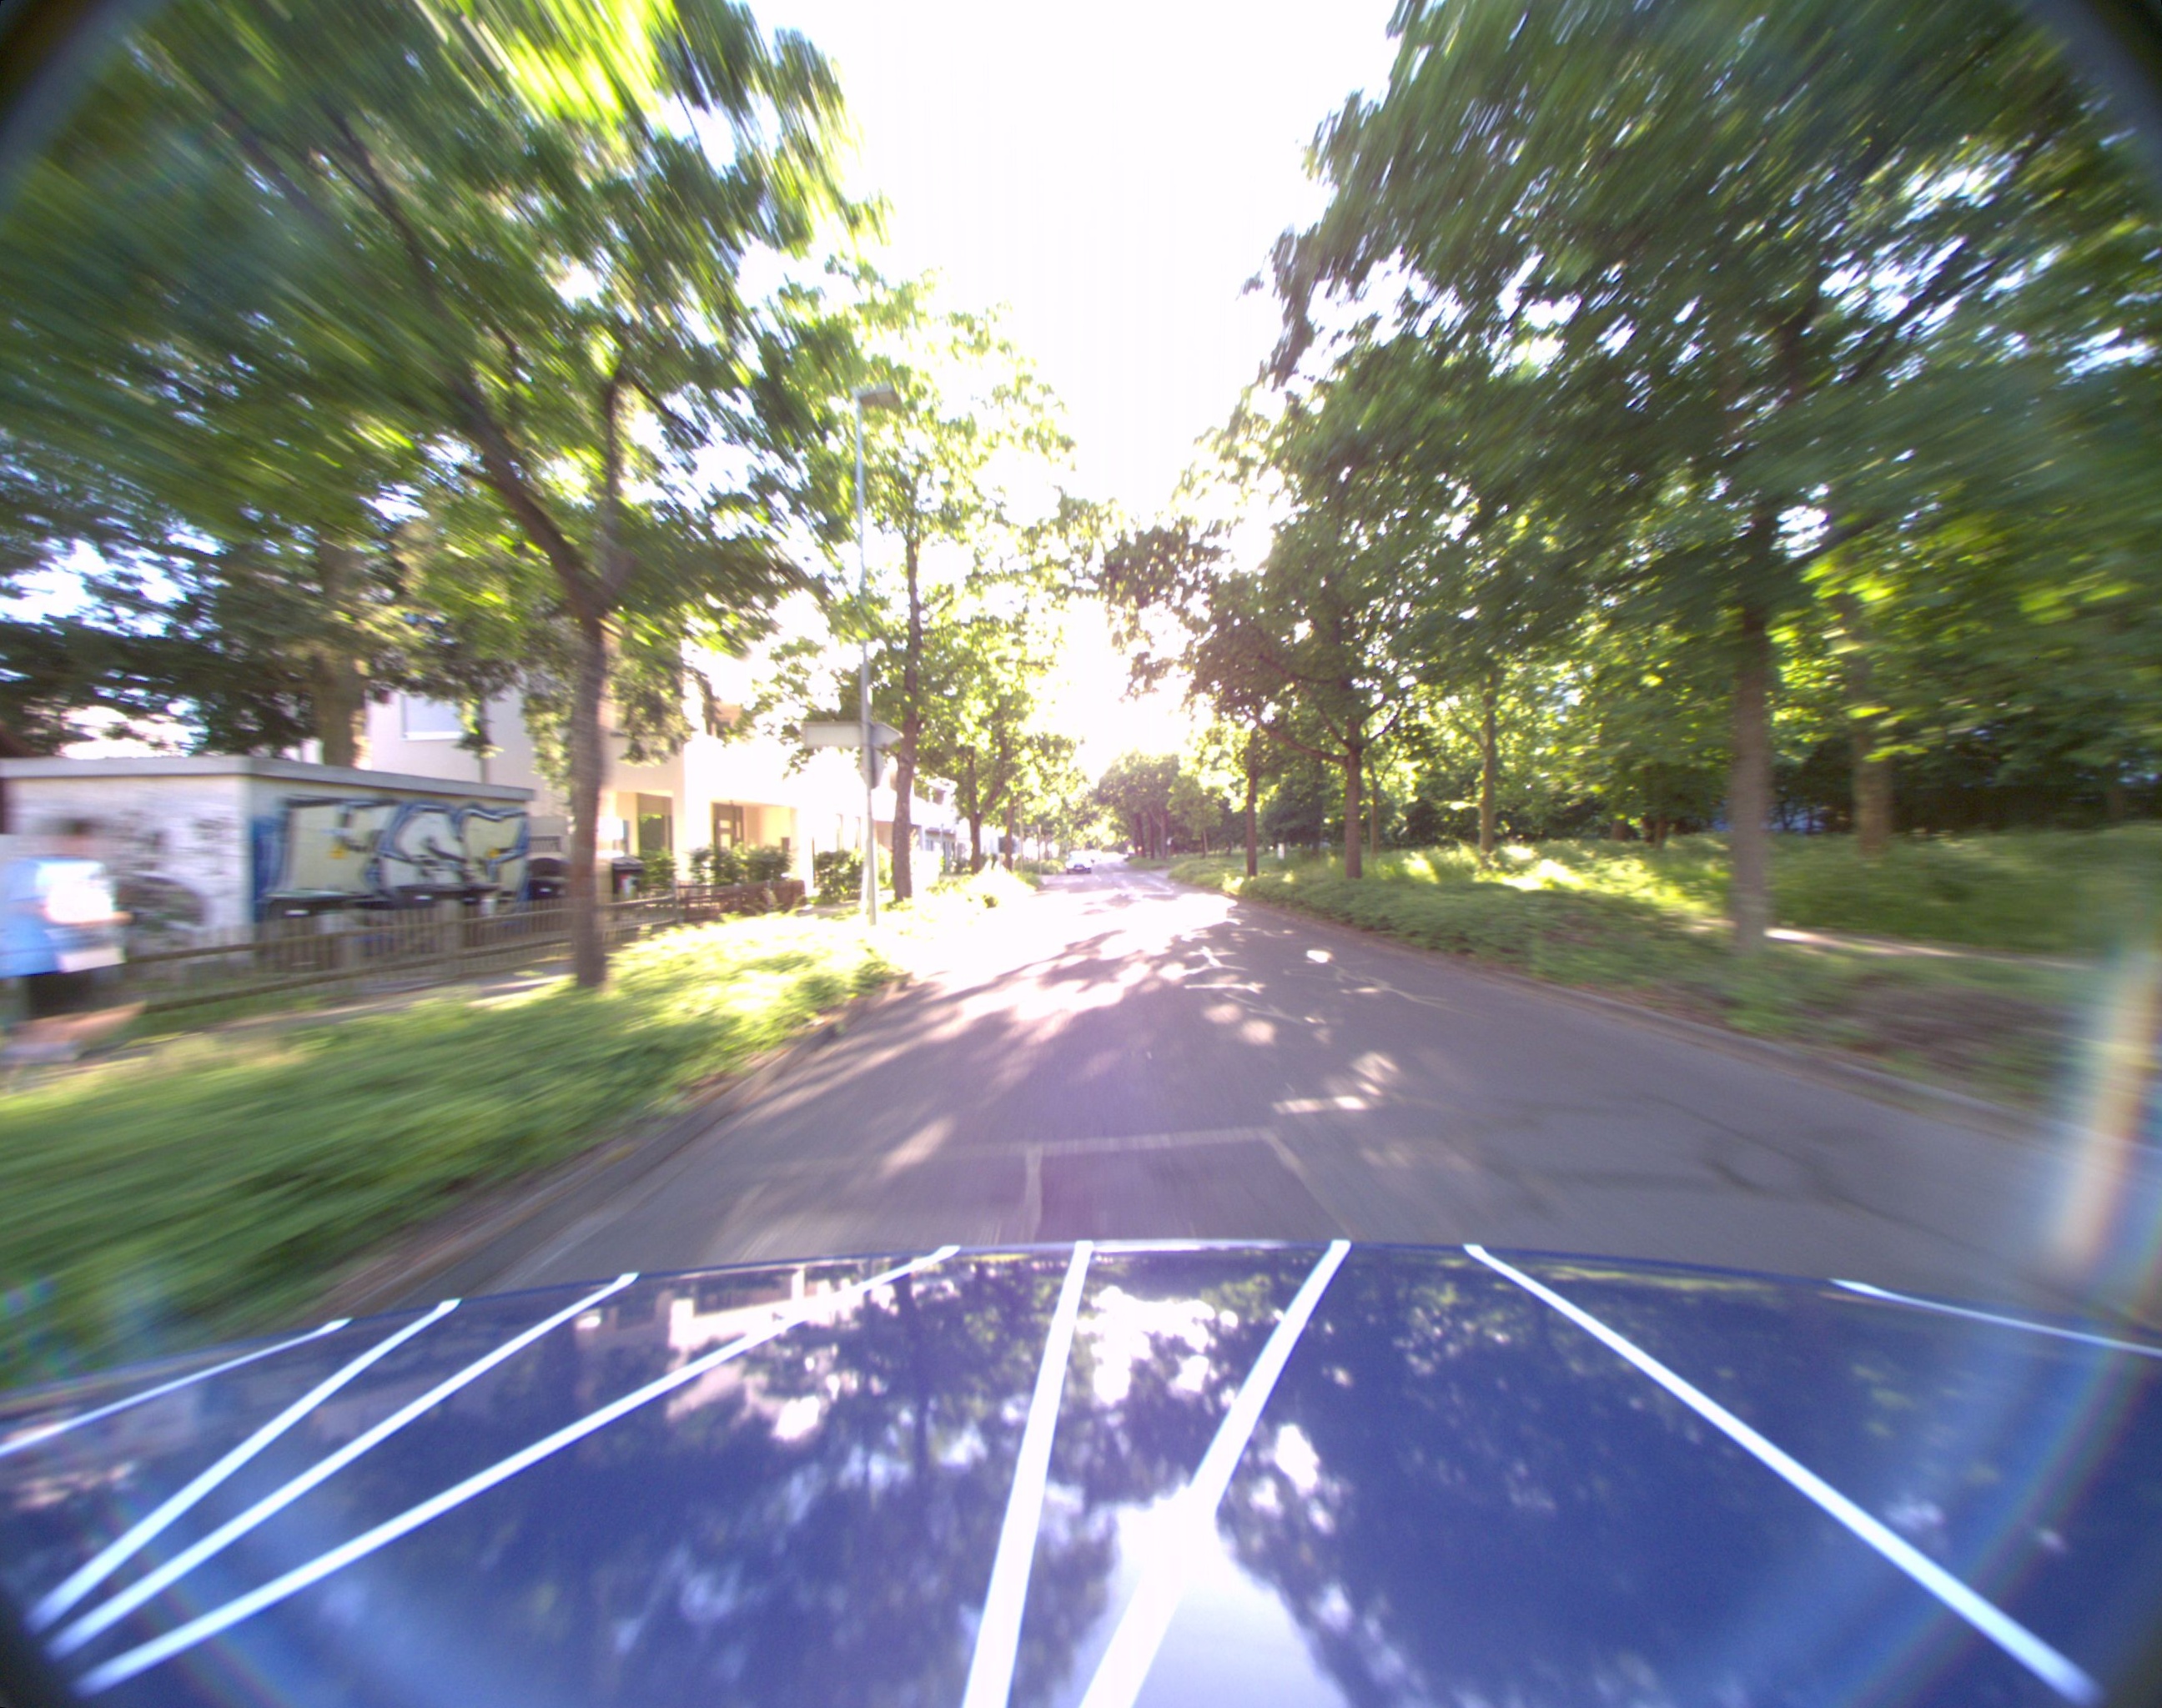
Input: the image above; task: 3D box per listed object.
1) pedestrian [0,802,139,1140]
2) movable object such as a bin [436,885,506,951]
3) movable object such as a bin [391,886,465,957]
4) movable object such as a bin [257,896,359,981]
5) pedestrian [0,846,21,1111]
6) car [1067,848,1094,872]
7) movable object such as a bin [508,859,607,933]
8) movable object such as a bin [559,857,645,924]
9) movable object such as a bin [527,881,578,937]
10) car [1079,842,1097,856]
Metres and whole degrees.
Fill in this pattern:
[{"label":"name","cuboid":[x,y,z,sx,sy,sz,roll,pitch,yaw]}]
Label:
[{"label":"pedestrian","cuboid":[-6.386,0.660,4.373,0.674,1.883,0.895,-2,1,1]},{"label":"movable object such as a bin","cuboid":[-10.008,1.037,12.486,0.607,1.024,0.641,0,1,0]},{"label":"movable object such as a bin","cuboid":[-10.006,1.029,11.663,0.616,1.024,0.594,0,1,0]},{"label":"movable object such as a bin","cuboid":[-10.023,1.077,9.871,0.645,1.024,0.645,0,1,0]},{"label":"pedestrian","cuboid":[-7.132,0.688,4.316,0.644,1.883,1.018,-2,1,1]},{"label":"car","cuboid":[-0.038,0.425,57.237,1.890,1.613,4.617,-2,1,-1]},{"label":"movable object such as a bin","cuboid":[-10.762,0.834,15.687,1.081,1.422,1.387,0,1,0]},{"label":"movable object such as a bin","cuboid":[-10.771,0.801,17.151,1.081,1.419,1.366,0,1,0]},{"label":"movable object such as a bin","cuboid":[-10.191,1.051,14.665,0.539,1.024,0.615,0,1,0]},{"label":"car","cuboid":[0.841,-0.619,87.842,1.998,1.531,4.000,-2,1,2]}]
